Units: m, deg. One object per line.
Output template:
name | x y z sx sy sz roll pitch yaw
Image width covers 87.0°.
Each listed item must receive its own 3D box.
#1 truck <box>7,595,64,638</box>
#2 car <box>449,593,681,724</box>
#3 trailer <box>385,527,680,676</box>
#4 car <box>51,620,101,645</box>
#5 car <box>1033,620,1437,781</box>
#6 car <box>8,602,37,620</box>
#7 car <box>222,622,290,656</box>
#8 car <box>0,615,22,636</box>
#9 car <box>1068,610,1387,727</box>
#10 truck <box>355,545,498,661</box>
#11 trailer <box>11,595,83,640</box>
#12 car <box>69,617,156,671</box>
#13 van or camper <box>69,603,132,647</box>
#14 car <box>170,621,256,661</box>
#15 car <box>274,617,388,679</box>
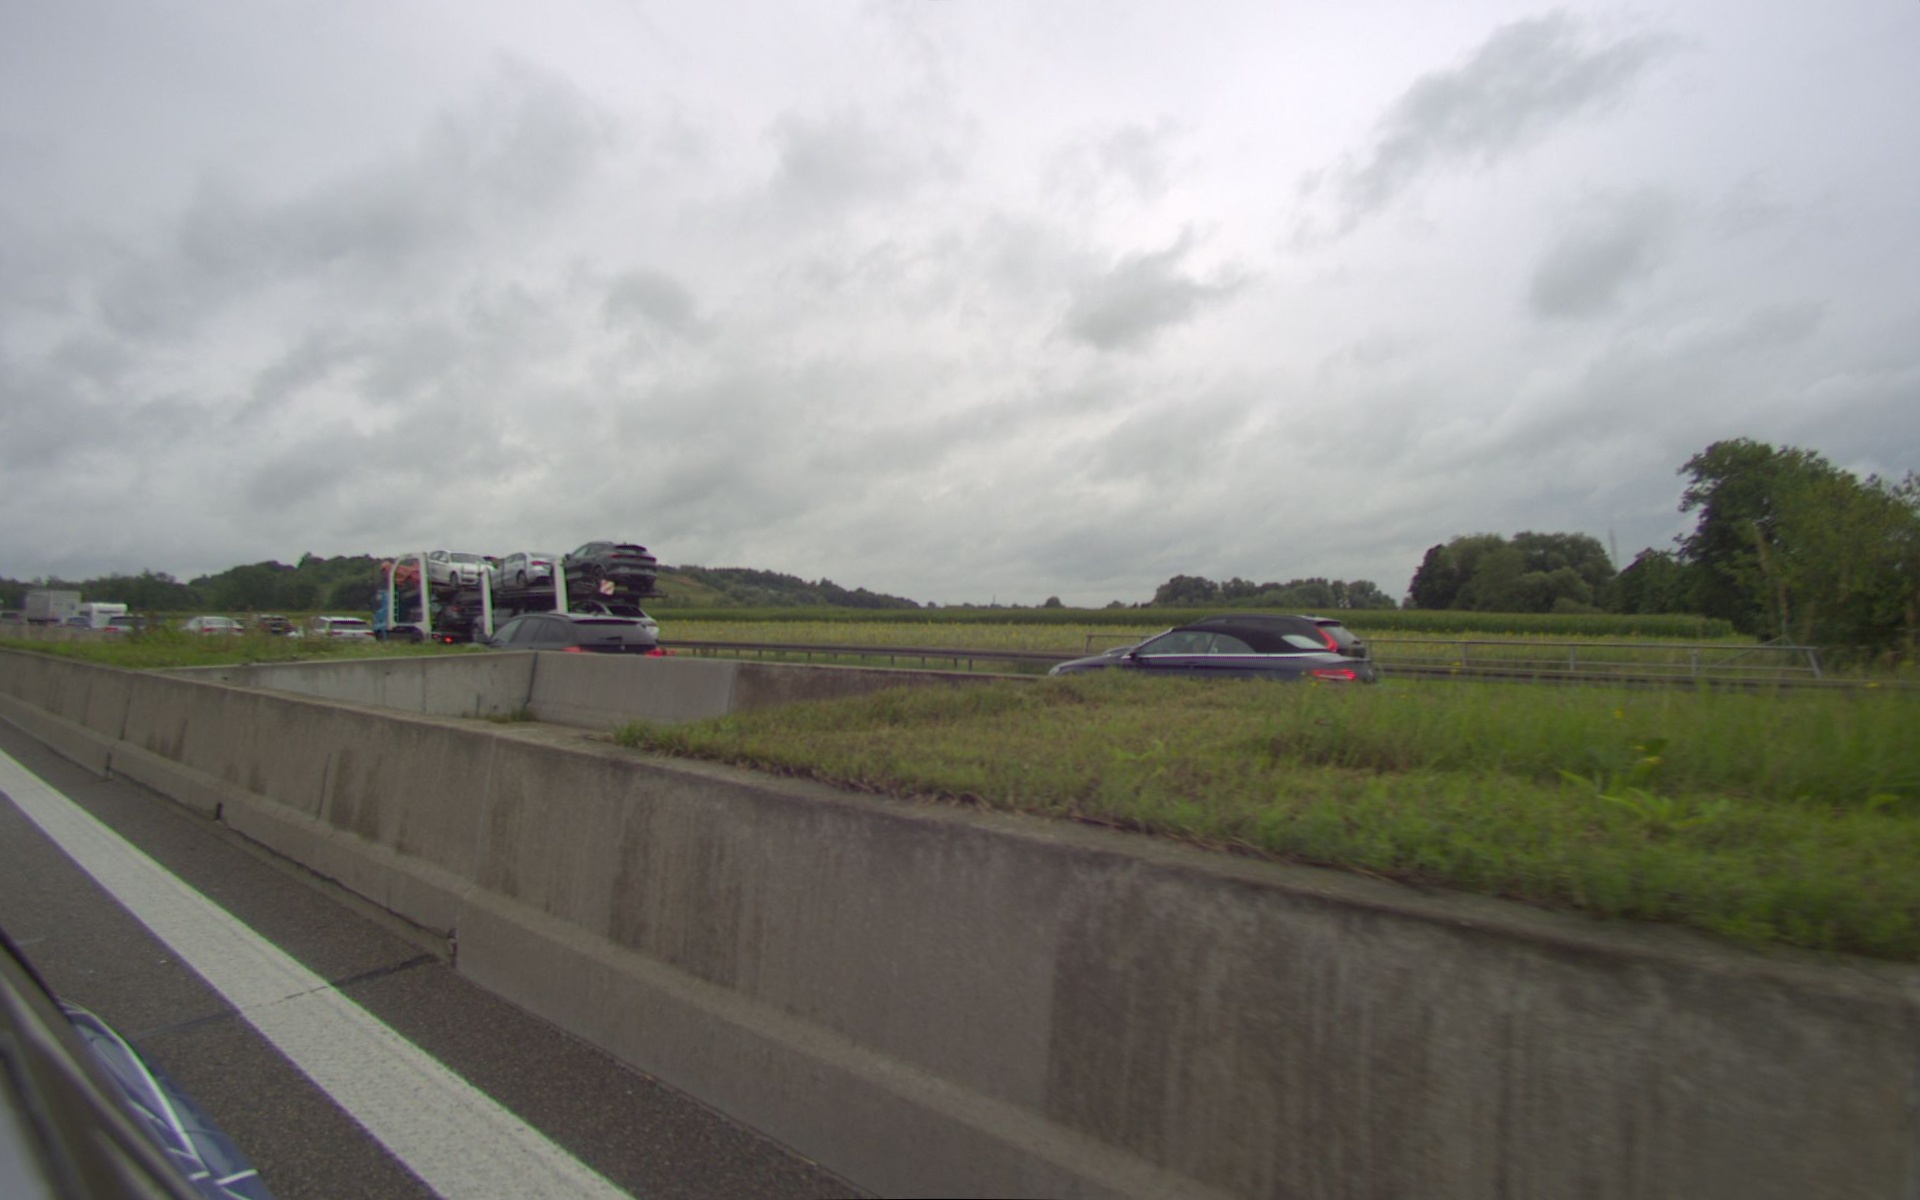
truck | -99.224 1.703 108.576 7.588 4.306 3.578 0 1 41
car | -6.367 0.868 16.128 3.998 1.829 1.795 -1 -2 41
trailer | -15.547 0.039 35.396 15.701 4.273 2.967 0 1 42
car | -63.266 2.310 72.371 4.797 1.723 2.040 -1 0 41
car | 3.501 1.156 13.509 4.799 1.723 2.071 -1 0 42
car | -108.217 1.282 116.776 4.619 2.029 1.973 -1 -1 41
car | -39.005 2.118 56.014 4.799 1.723 2.071 -1 0 42
car | -90.853 2.415 96.192 5.275 1.939 1.864 -1 -1 41
car | 4.502 1.070 17.579 4.960 1.723 2.071 -1 0 42
truck | -21.371 0.087 40.428 6.231 4.273 2.927 0 1 41
trailer | -93.766 1.693 103.743 15.617 4.303 3.674 0 1 41
car | -33.216 1.652 39.613 4.588 1.893 1.908 0 1 41
van or camper | -72.952 2.062 85.864 7.692 3.529 2.682 0 1 39
car | -34.697 1.870 46.975 5.161 1.723 2.072 -1 0 40
car | -22.036 1.604 35.359 5.030 1.893 1.973 0 1 41
